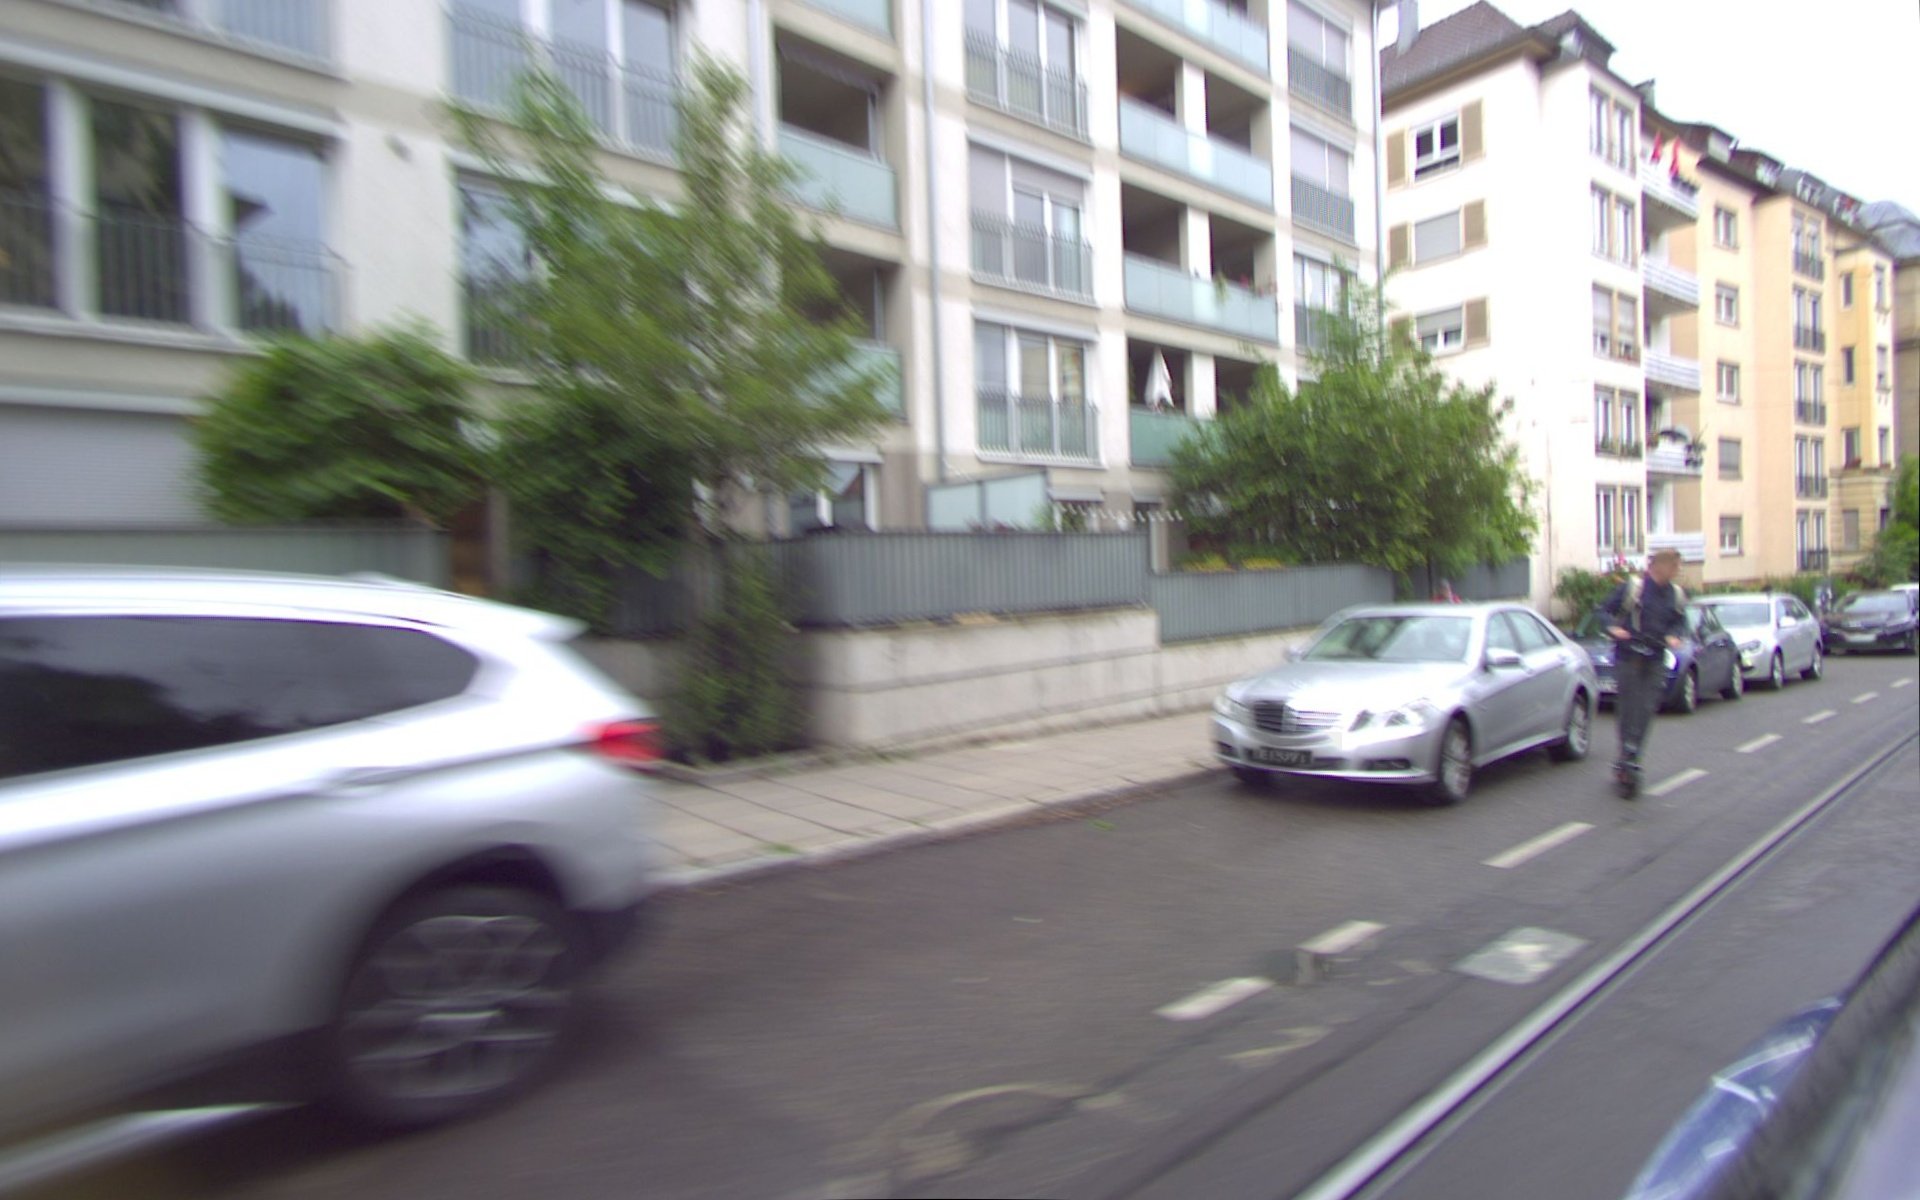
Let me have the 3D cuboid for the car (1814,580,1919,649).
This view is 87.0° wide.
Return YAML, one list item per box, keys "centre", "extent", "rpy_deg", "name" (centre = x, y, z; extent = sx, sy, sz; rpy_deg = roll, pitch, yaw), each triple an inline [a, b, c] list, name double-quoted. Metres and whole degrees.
- centre: [21.640, 0.313, 23.504]
  extent: [4.026, 1.471, 1.799]
  rpy_deg: [-1, -1, -36]
  name: "car"

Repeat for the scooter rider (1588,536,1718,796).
- centre: [5.332, 0.475, 7.788]
  extent: [0.678, 1.881, 0.644]
  rpy_deg: [-1, -1, -42]
  name: "scooter rider"

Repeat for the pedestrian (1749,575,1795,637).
- centre: [21.569, 0.147, 26.889]
  extent: [0.897, 1.588, 0.668]
  rpy_deg: [0, 2, -35]
  name: "pedestrian"

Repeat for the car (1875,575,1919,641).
- centre: [25.486, 0.176, 26.377]
  extent: [3.798, 1.643, 1.798]
  rpy_deg: [-1, -1, -39]
  name: "car"

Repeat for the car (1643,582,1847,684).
- centre: [13.111, 0.494, 16.813]
  extent: [4.311, 1.486, 1.721]
  rpy_deg: [0, -1, -39]
  name: "car"

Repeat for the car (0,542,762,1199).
- centre: [-2.900, 0.690, 2.552]
  extent: [1.972, 1.605, 4.499]
  rpy_deg: [-1, -1, 40]
  name: "car"

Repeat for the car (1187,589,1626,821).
- centre: [4.171, 0.712, 9.007]
  extent: [4.708, 1.535, 1.860]
  rpy_deg: [0, -1, -43]
  name: "car"

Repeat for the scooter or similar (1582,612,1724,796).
- centre: [5.334, 0.745, 7.777]
  extent: [1.071, 1.277, 0.644]
  rpy_deg: [-1, -1, -42]
  name: "scooter or similar"

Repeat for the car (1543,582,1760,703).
- centre: [9.486, 0.515, 13.804]
  extent: [3.453, 1.442, 1.599]
  rpy_deg: [0, -1, -41]
  name: "car"

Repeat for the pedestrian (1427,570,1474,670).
- centre: [8.075, 0.321, 16.667]
  extent: [0.574, 1.606, 0.567]
  rpy_deg: [1, 1, 17]
  name: "pedestrian"

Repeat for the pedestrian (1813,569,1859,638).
- centre: [22.752, 0.085, 26.280]
  extent: [0.652, 1.734, 0.718]
  rpy_deg: [0, 2, -35]
  name: "pedestrian"
